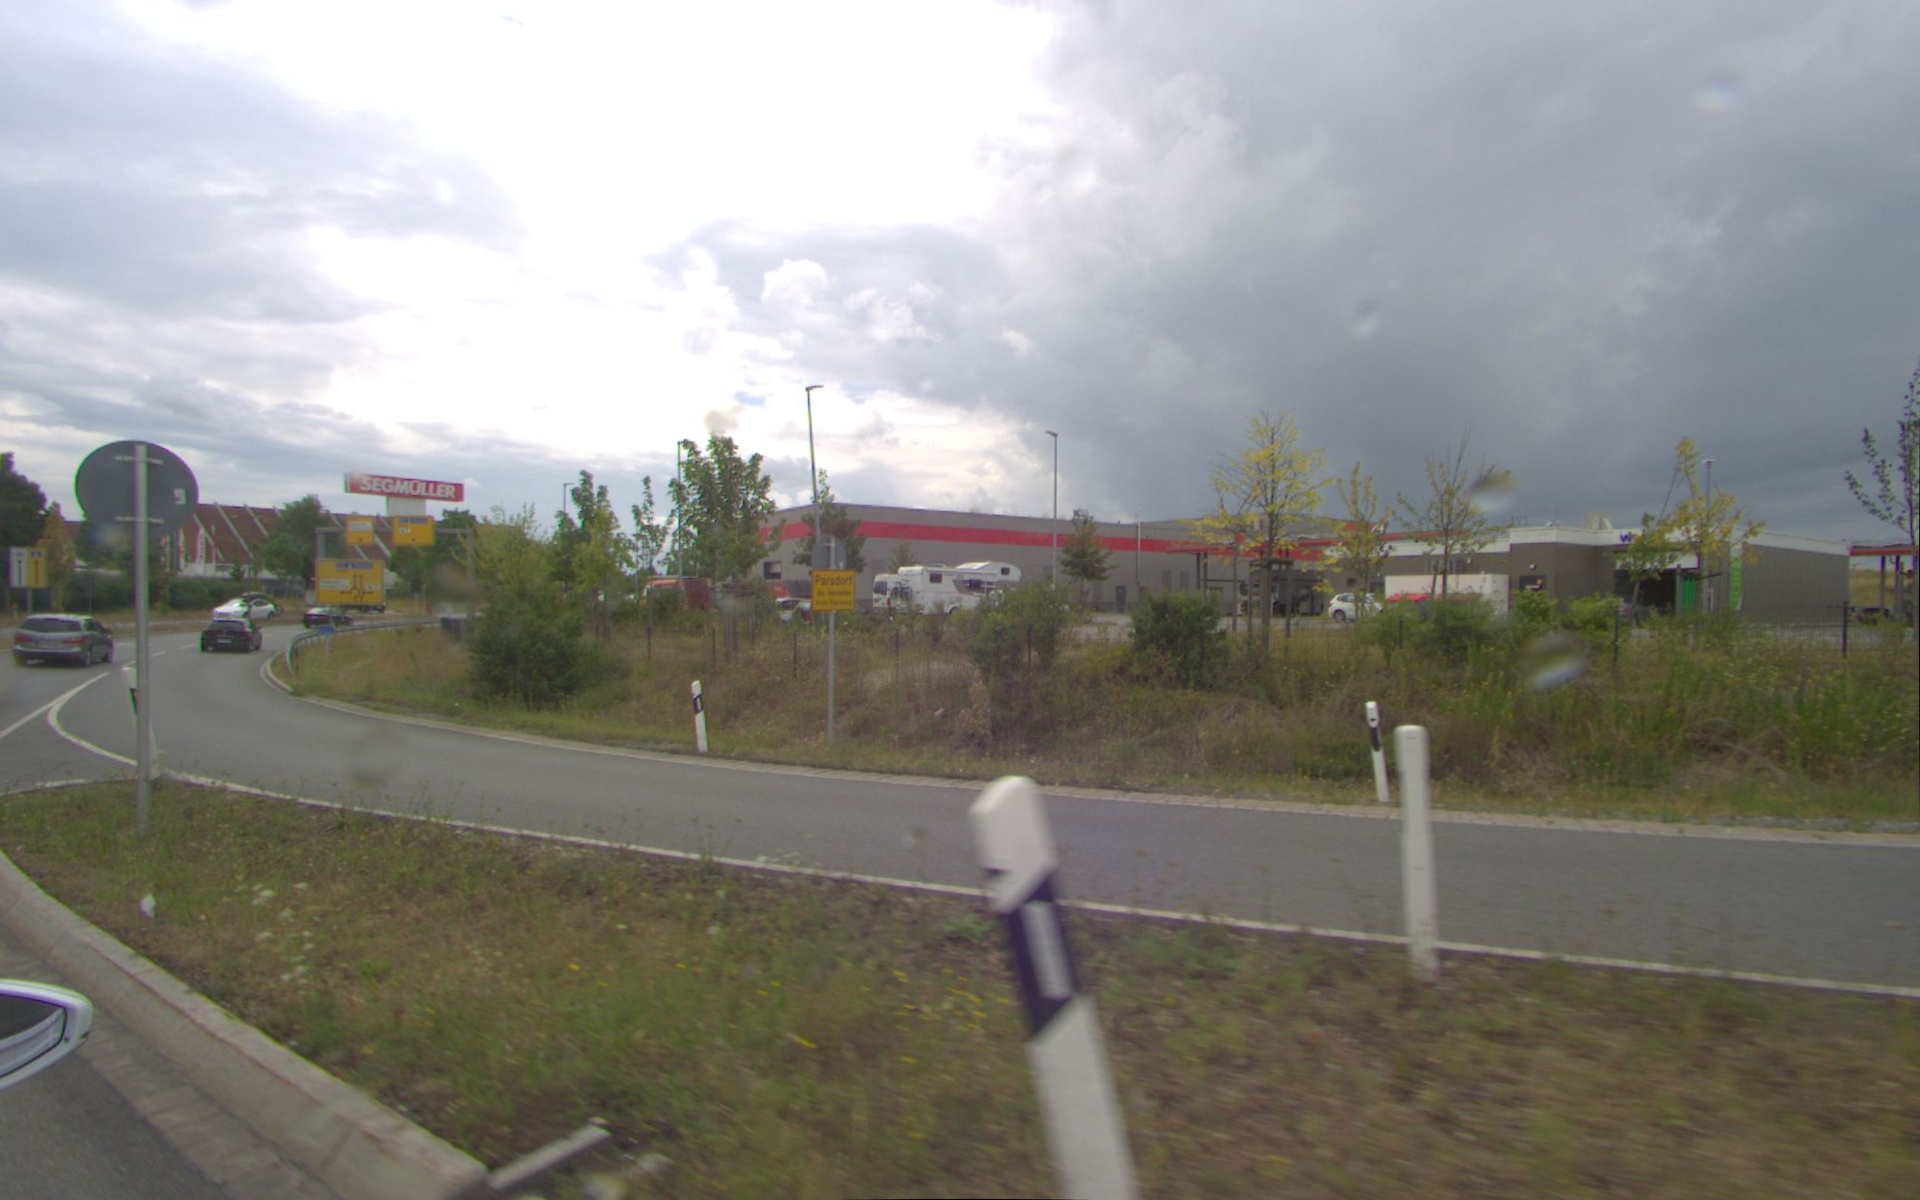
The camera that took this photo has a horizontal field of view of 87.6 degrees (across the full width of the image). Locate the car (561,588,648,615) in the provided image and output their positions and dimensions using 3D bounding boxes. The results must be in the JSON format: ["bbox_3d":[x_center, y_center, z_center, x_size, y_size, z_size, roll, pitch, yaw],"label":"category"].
[{"bbox_3d":[-19.727,0.127,55.722,1.678,1.418,4.568,0,-1,30],"label":"car"}]

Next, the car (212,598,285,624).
[{"bbox_3d":[-49.587,0.789,69.911,1.878,1.647,4.638,4,-1,-2],"label":"car"}]

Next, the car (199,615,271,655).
[{"bbox_3d":[-31.350,1.508,43.422,1.846,1.626,3.721,1,-1,-25],"label":"car"}]

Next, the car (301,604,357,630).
[{"bbox_3d":[-41.954,1.162,66.636,1.877,1.638,3.997,0,-1,-12],"label":"car"}]

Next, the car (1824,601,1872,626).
[{"bbox_3d":[57.505,0.867,64.845,3.620,1.558,1.785,1,-2,-39],"label":"car"}]

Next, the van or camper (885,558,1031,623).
[{"bbox_3d":[-0.025,-0.467,52.753,7.640,3.222,2.474,0,1,-35],"label":"van or camper"}]

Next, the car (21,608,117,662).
[{"bbox_3d":[-28.691,1.114,32.345,1.750,1.637,3.897,1,-2,-34],"label":"car"}]

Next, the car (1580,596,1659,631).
[{"bbox_3d":[29.200,0.604,44.303,3.952,1.449,1.658,2,-1,-37],"label":"car"}]
